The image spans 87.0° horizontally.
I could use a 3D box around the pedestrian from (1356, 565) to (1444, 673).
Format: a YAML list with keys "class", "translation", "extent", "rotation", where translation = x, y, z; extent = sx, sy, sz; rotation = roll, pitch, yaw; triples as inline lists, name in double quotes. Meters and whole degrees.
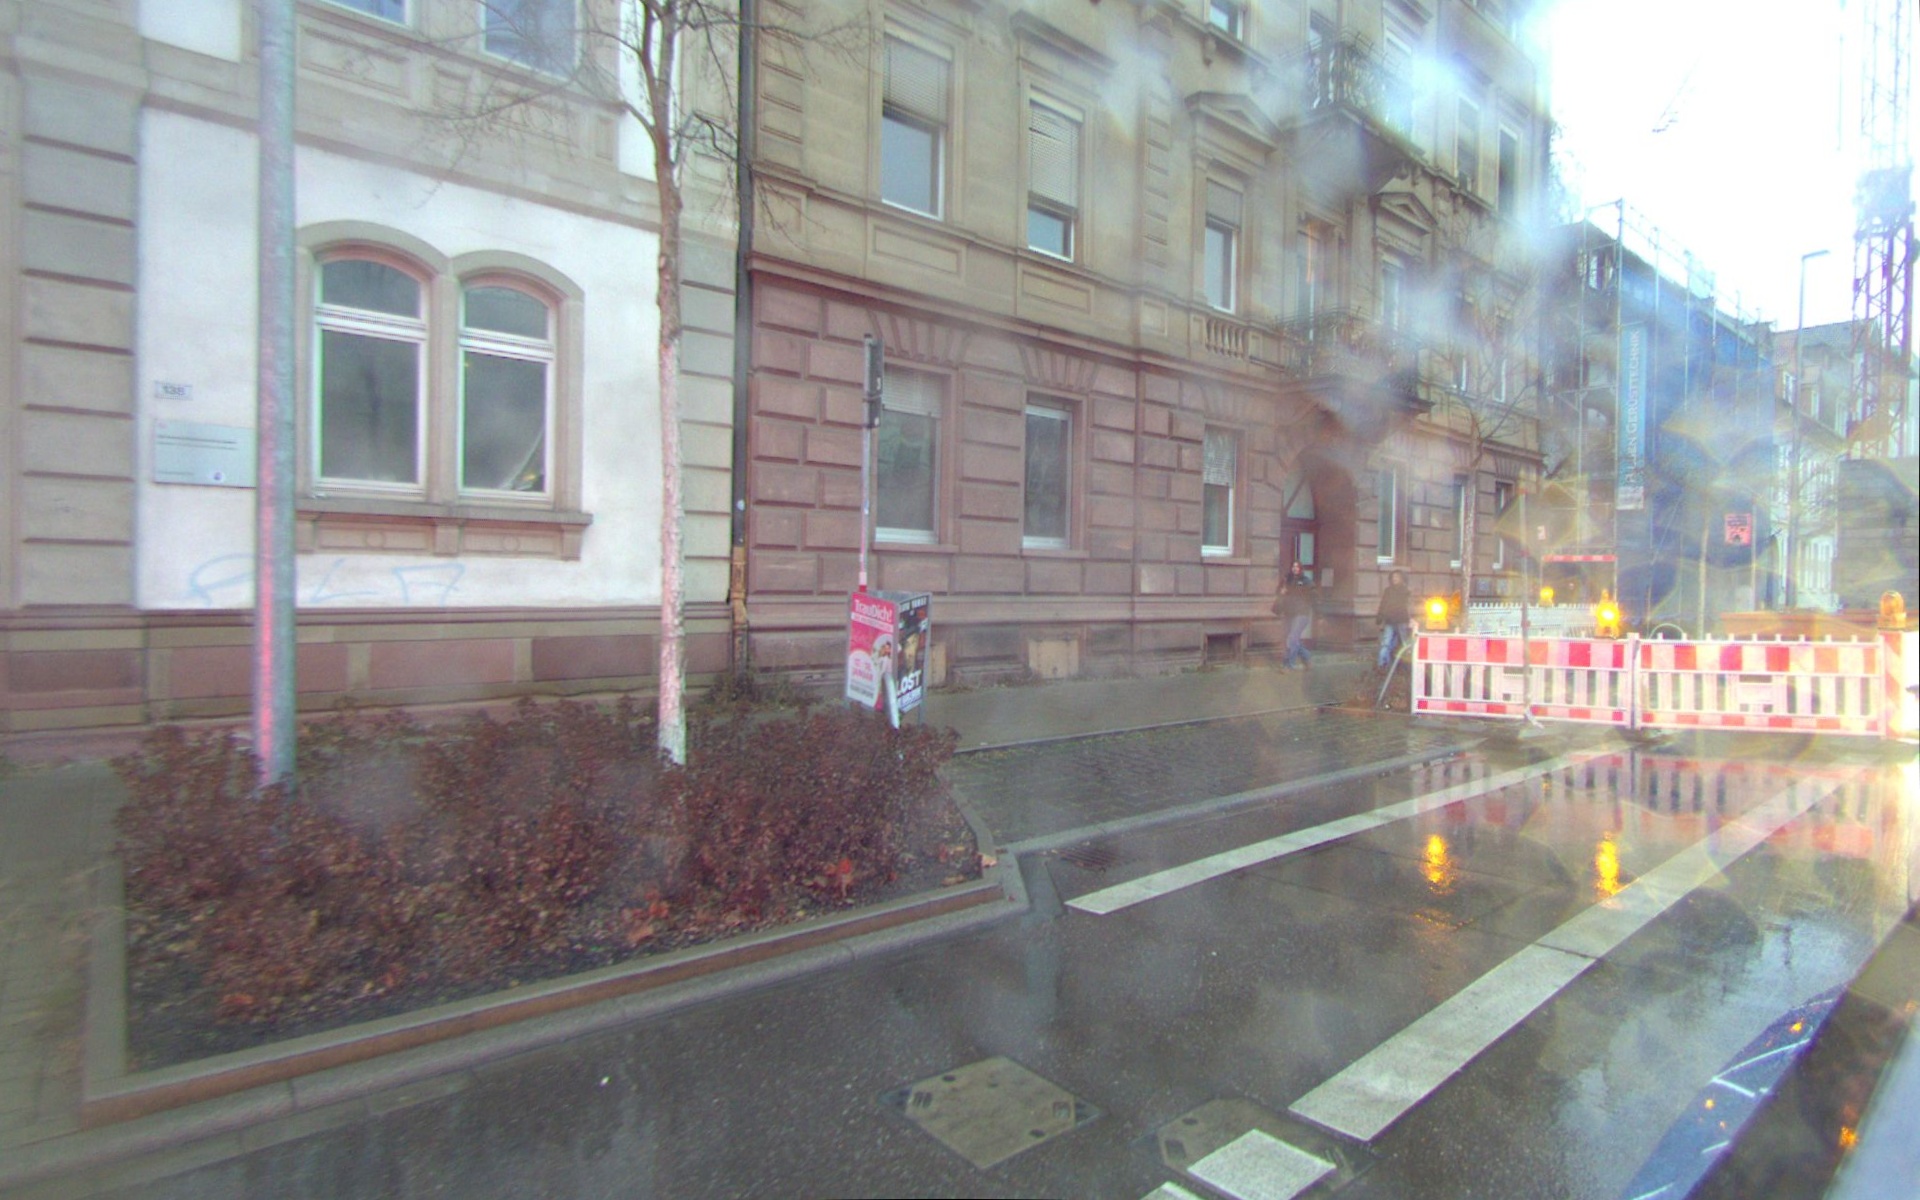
- class: "pedestrian"
  translation: [6.639, 0.262, 15.263]
  extent: [0.913, 1.564, 0.870]
  rotation: [0, 2, -40]

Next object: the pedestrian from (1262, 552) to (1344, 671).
- class: "pedestrian"
  translation: [5.049, 0.147, 14.907]
  extent: [0.693, 1.693, 0.871]
  rotation: [0, 2, -37]
